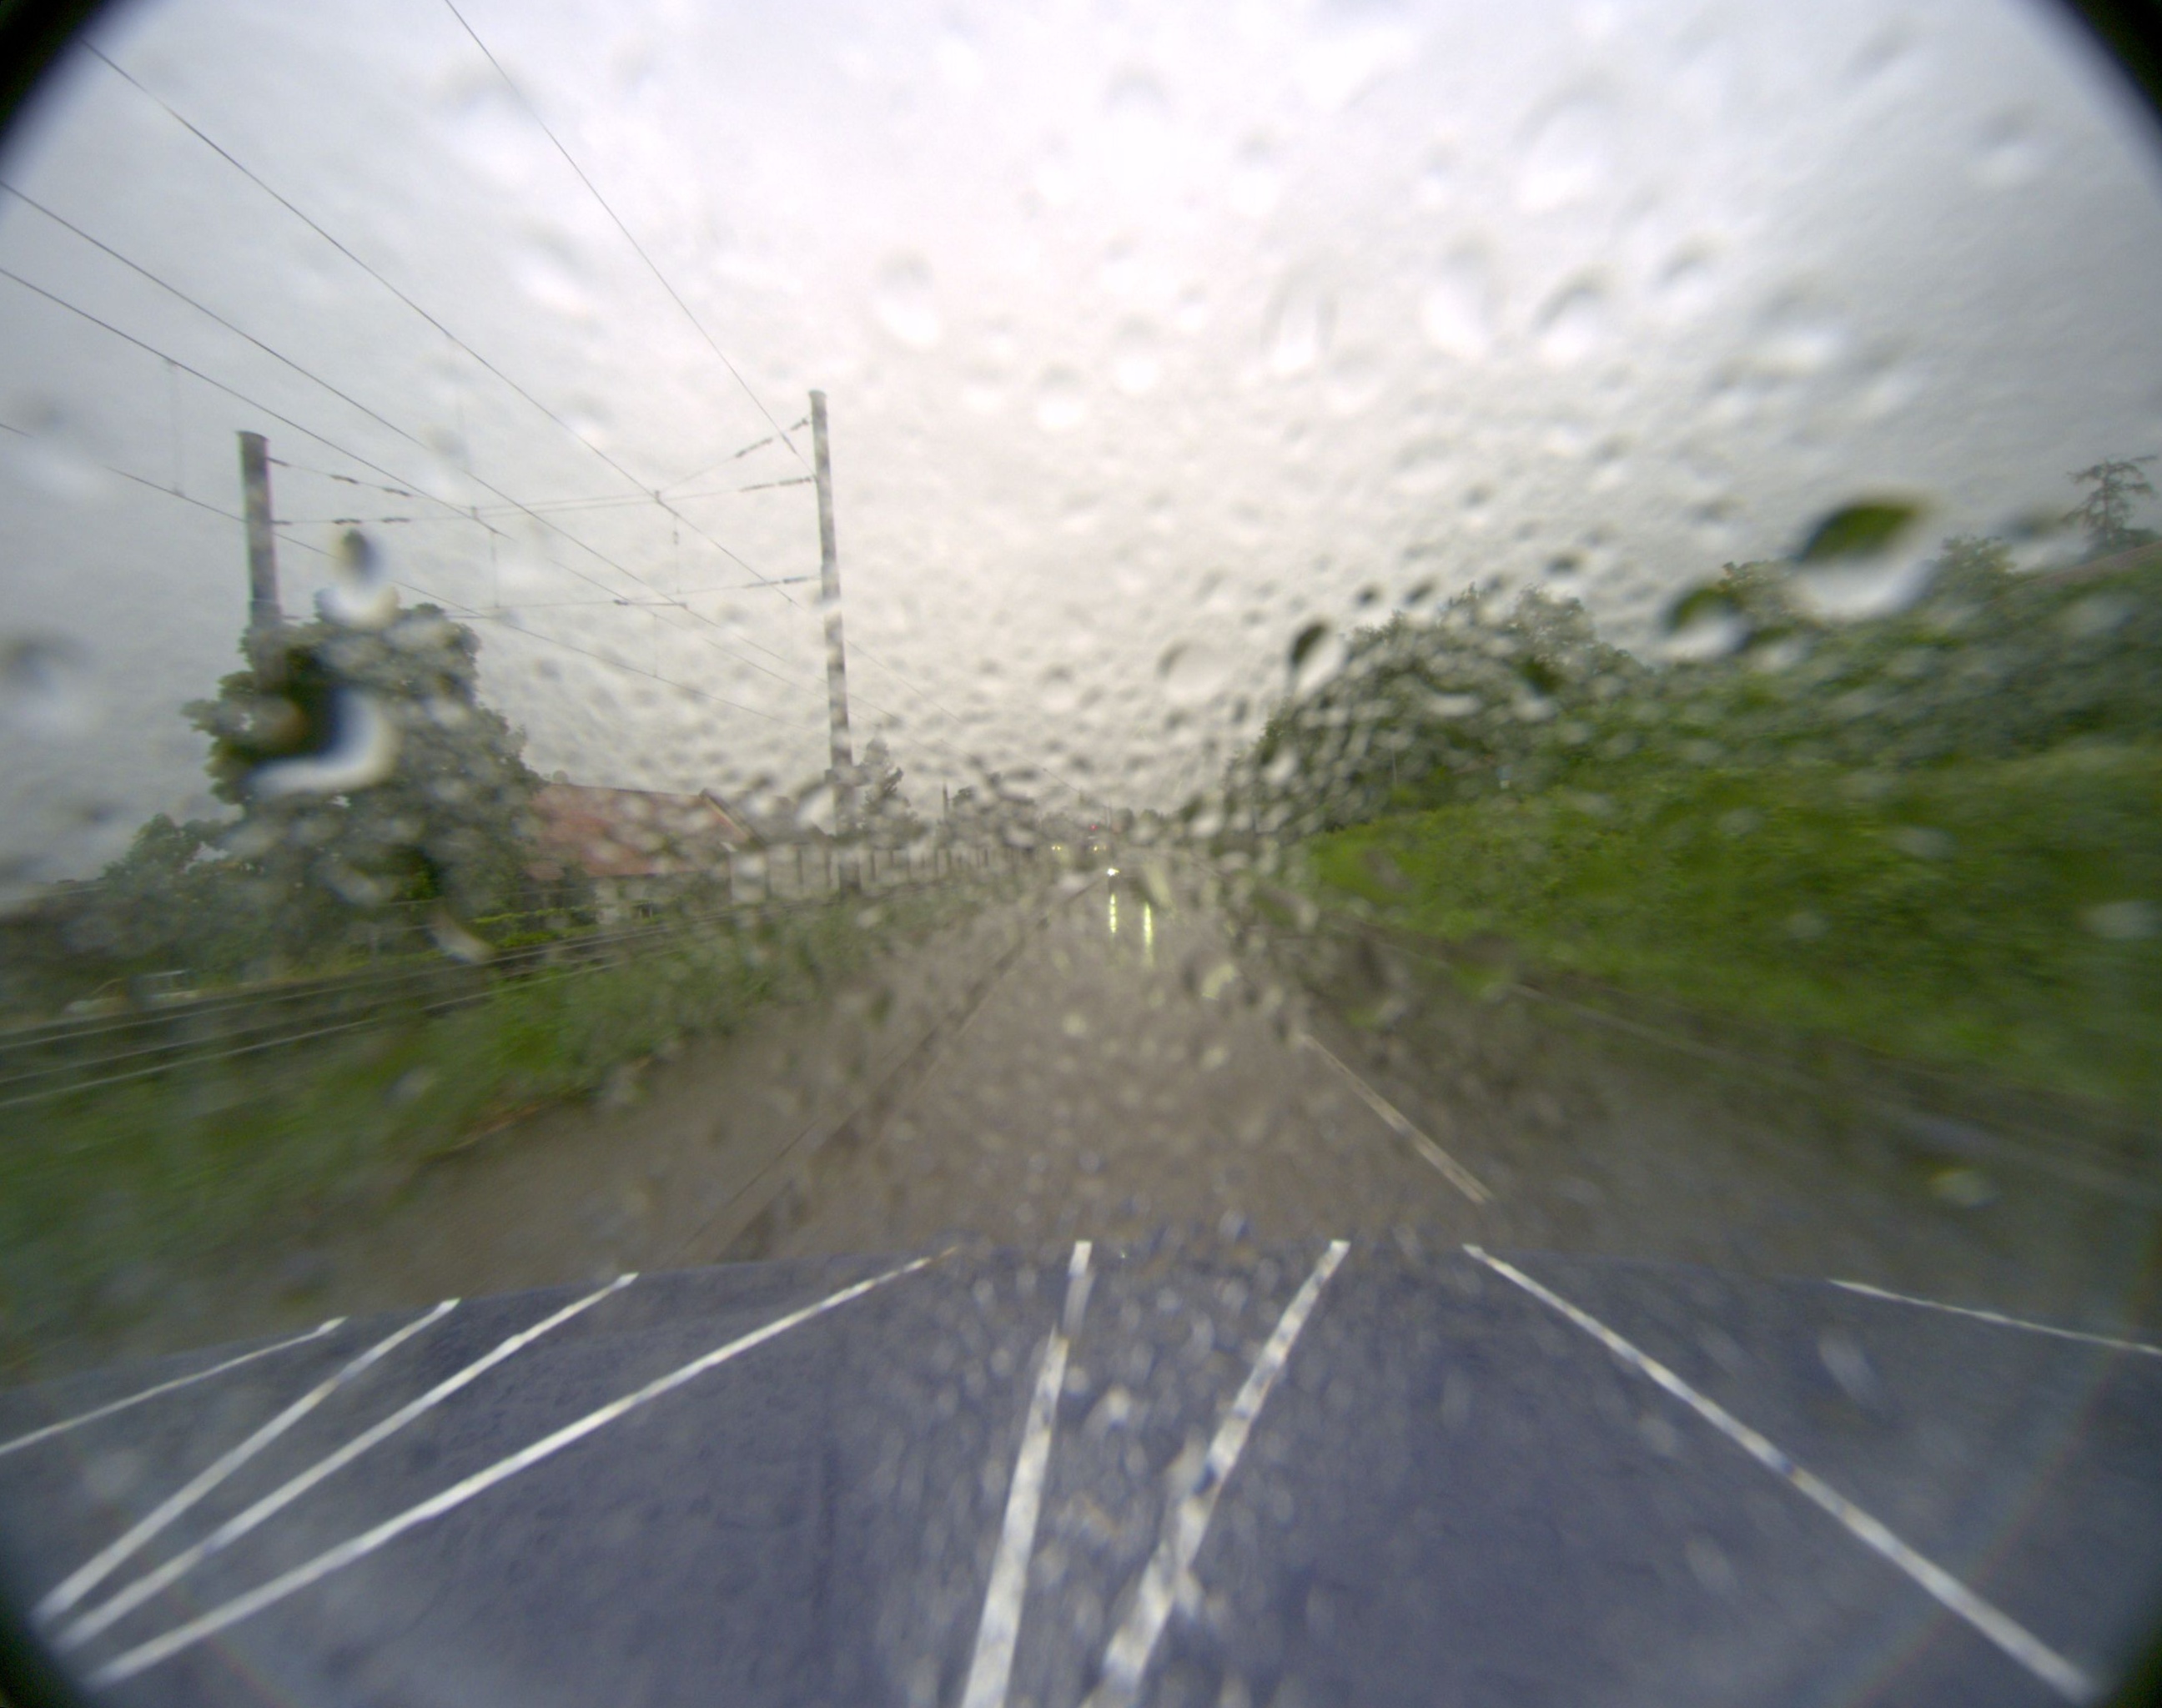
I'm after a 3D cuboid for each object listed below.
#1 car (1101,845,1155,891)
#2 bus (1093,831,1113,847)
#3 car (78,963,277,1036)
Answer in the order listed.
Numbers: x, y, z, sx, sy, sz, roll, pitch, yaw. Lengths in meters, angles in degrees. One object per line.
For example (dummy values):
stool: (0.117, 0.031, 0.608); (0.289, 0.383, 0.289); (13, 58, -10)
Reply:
car: (2.071, 0.560, 32.387); (1.998, 1.623, 4.000); (-4, 2, 6)
bus: (4.741, -3.298, 167.574); (2.678, 3.060, 9.985); (-4, 2, -8)
car: (-26.277, 4.226, 22.155); (4.189, 1.628, 1.879); (-4, 2, 12)
